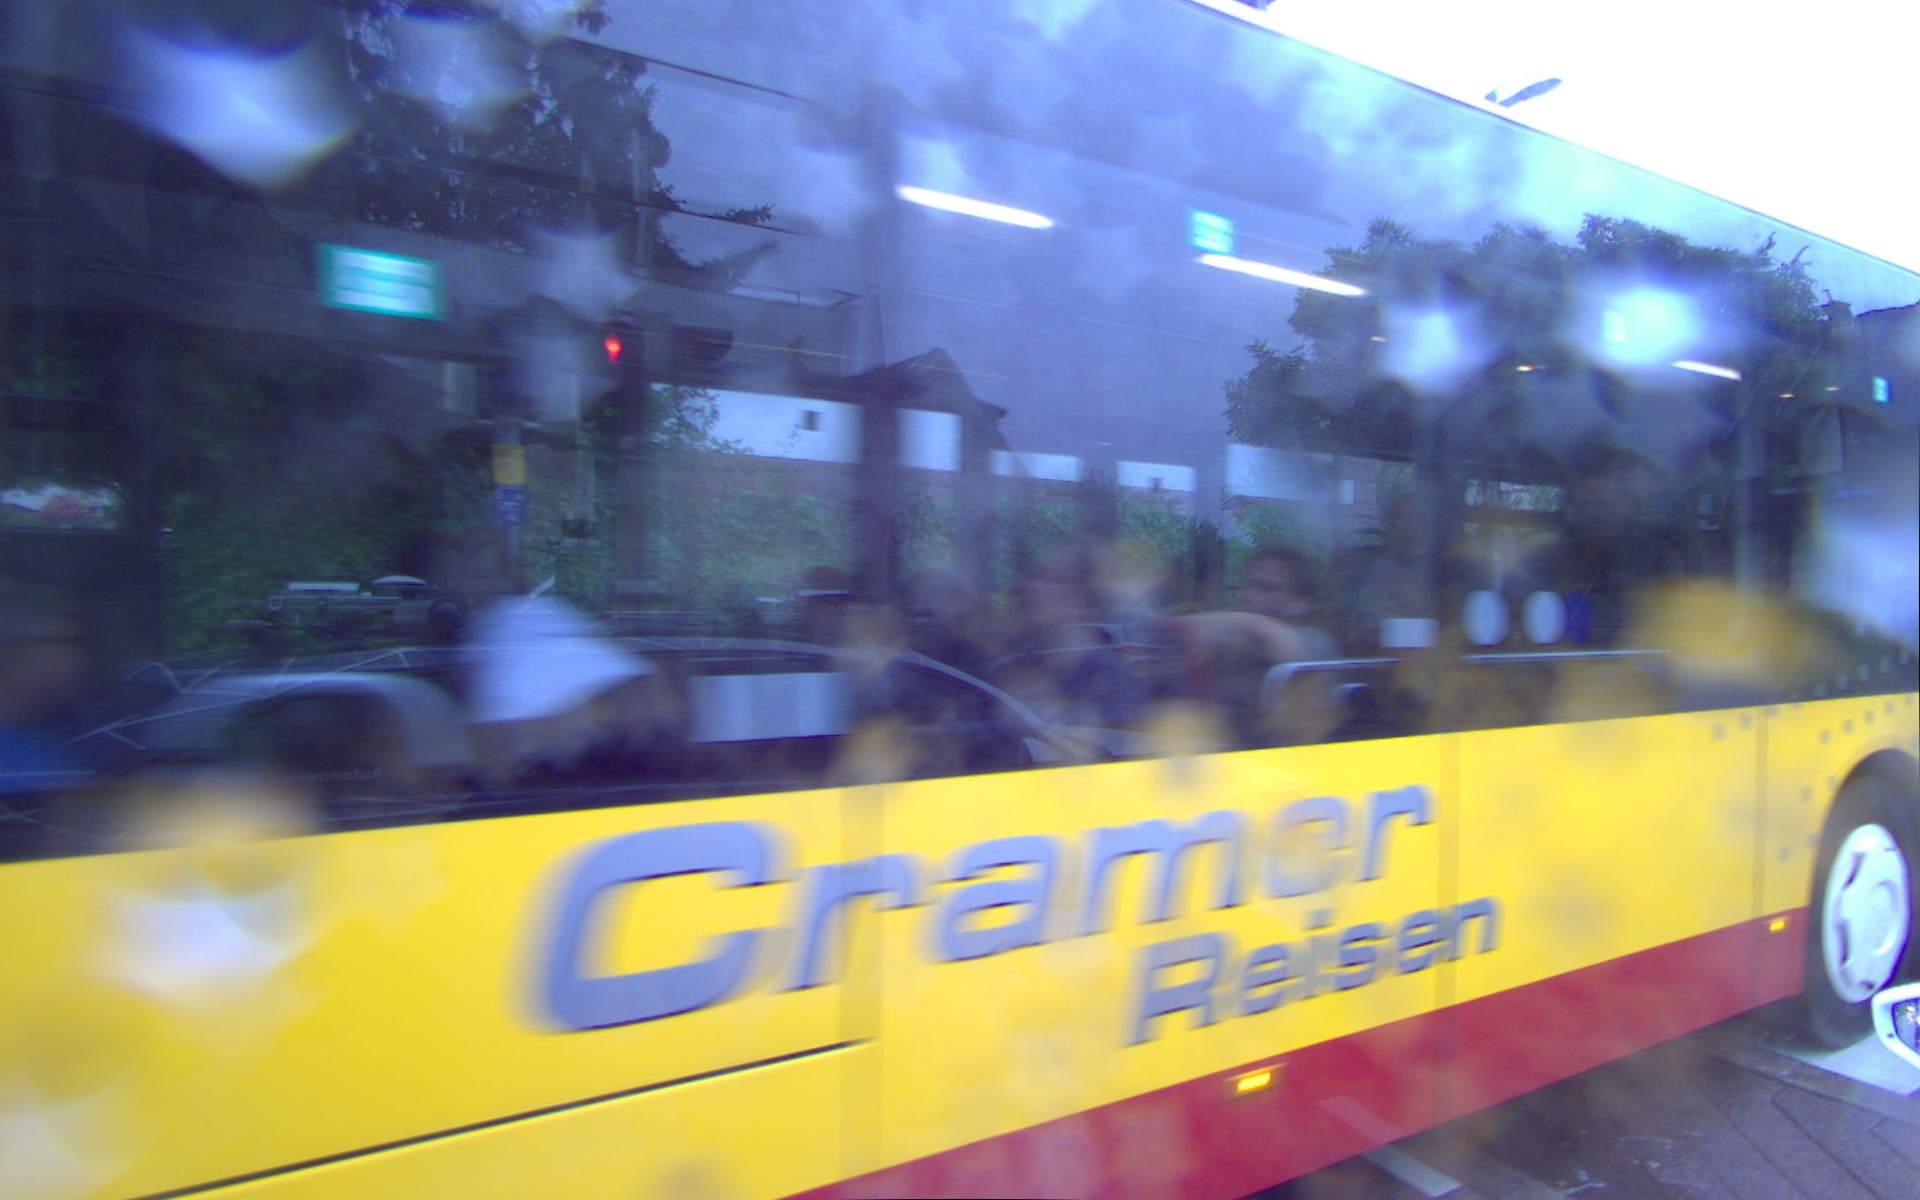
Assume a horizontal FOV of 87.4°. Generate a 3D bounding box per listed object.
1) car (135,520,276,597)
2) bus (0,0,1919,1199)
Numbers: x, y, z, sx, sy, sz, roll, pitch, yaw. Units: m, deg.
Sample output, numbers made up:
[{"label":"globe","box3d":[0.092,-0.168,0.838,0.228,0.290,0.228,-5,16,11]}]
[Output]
[{"label":"car","box3d":[-18.699,-1.079,25.093,1.973,1.528,3.974,1,6,-25]},{"label":"bus","box3d":[0.209,0.028,3.250,11.790,2.978,2.795,0,1,-28]}]
